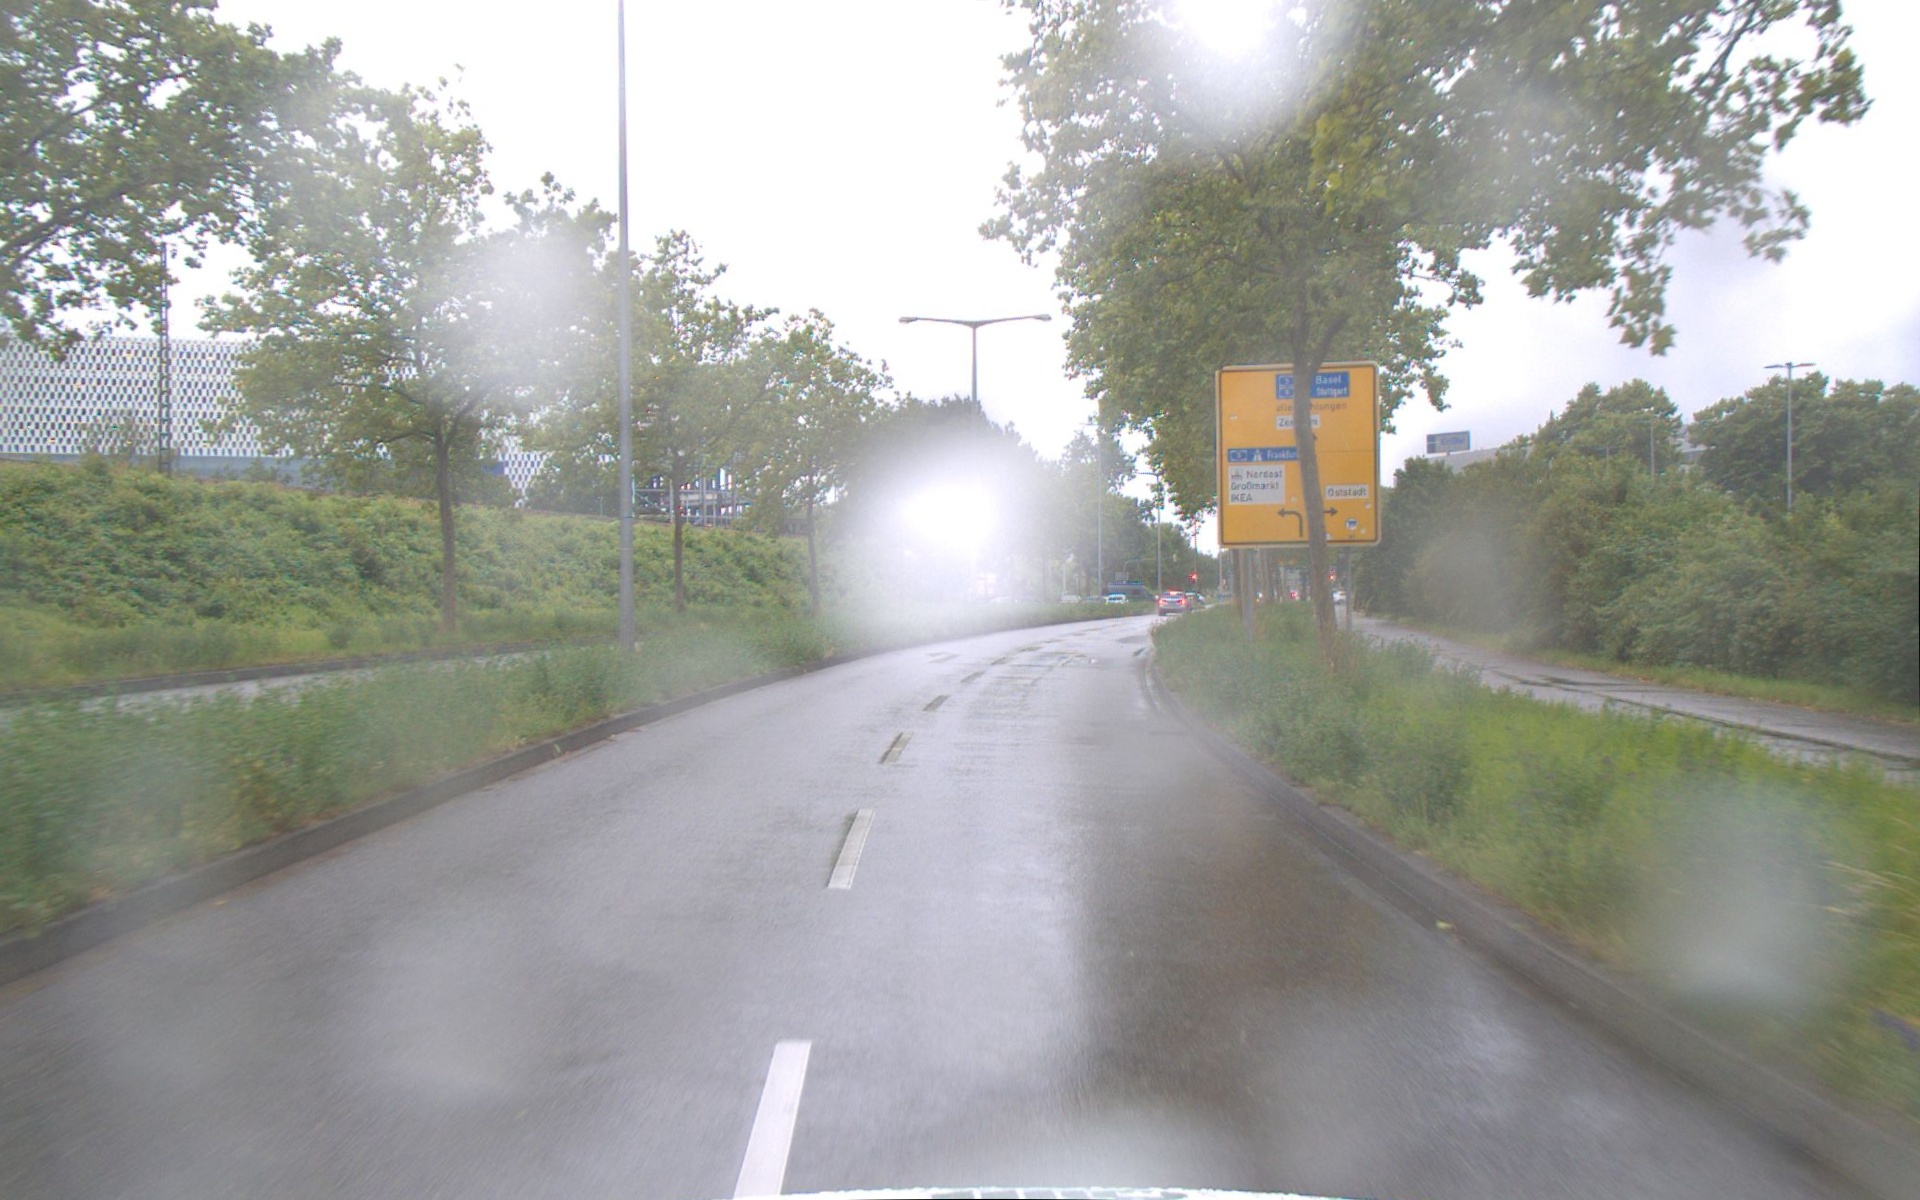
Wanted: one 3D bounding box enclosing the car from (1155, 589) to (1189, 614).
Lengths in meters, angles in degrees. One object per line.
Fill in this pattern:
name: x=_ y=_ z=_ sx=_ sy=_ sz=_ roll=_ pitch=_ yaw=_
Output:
car: x=13.041 y=0.088 z=101.755 sx=1.654 sy=1.458 sz=4.578 roll=0 pitch=0 yaw=13
